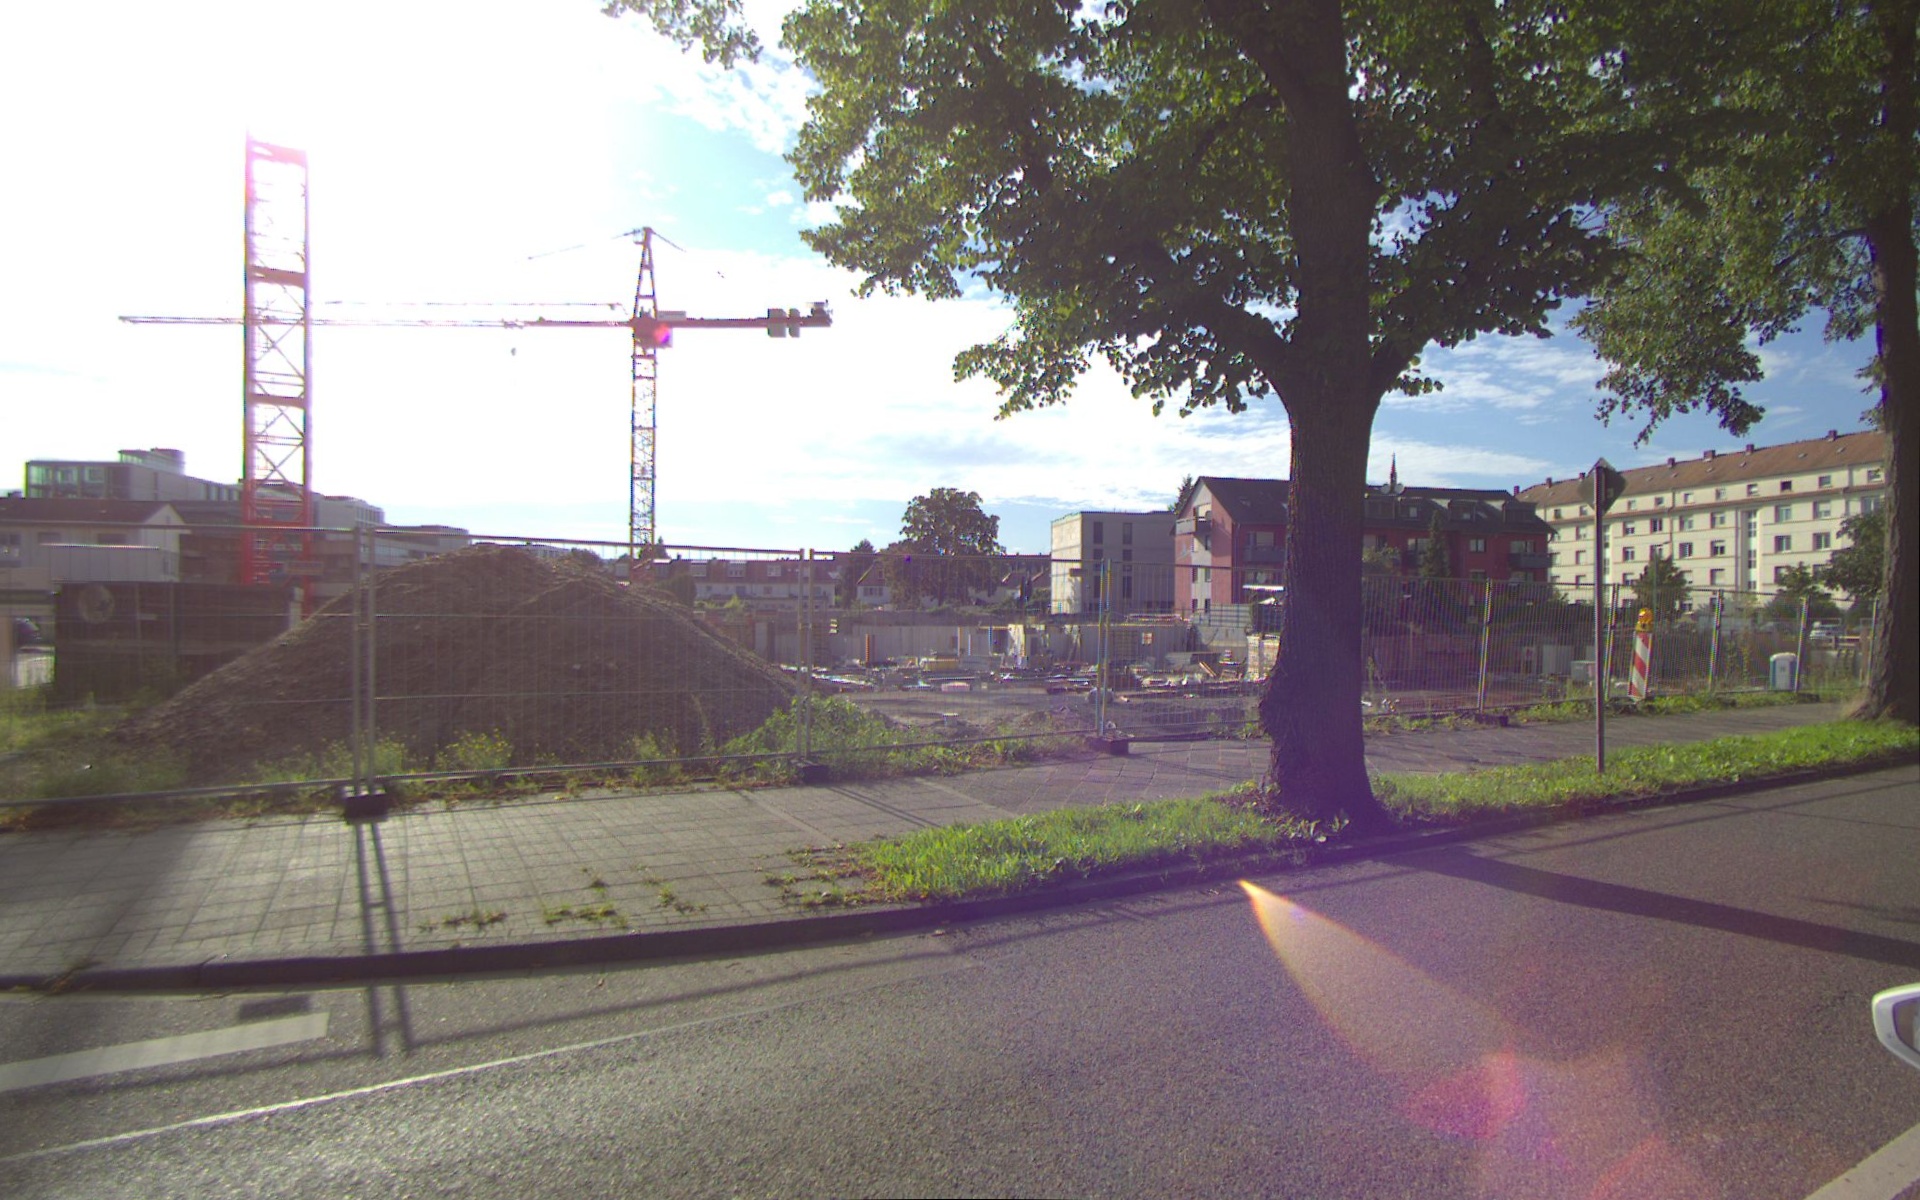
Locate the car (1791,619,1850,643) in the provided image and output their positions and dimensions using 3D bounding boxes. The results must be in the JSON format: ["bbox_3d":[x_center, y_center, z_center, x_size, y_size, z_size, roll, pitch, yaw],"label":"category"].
[{"bbox_3d":[73.013,2.640,85.246,3.933,2.040,1.994,1,-1,-15],"label":"car"}]

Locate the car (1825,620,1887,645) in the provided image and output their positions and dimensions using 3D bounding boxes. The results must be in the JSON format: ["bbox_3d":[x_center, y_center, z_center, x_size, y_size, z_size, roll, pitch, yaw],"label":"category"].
[{"bbox_3d":[73.965,2.686,82.918,3.933,2.040,1.994,1,-1,-15],"label":"car"}]
